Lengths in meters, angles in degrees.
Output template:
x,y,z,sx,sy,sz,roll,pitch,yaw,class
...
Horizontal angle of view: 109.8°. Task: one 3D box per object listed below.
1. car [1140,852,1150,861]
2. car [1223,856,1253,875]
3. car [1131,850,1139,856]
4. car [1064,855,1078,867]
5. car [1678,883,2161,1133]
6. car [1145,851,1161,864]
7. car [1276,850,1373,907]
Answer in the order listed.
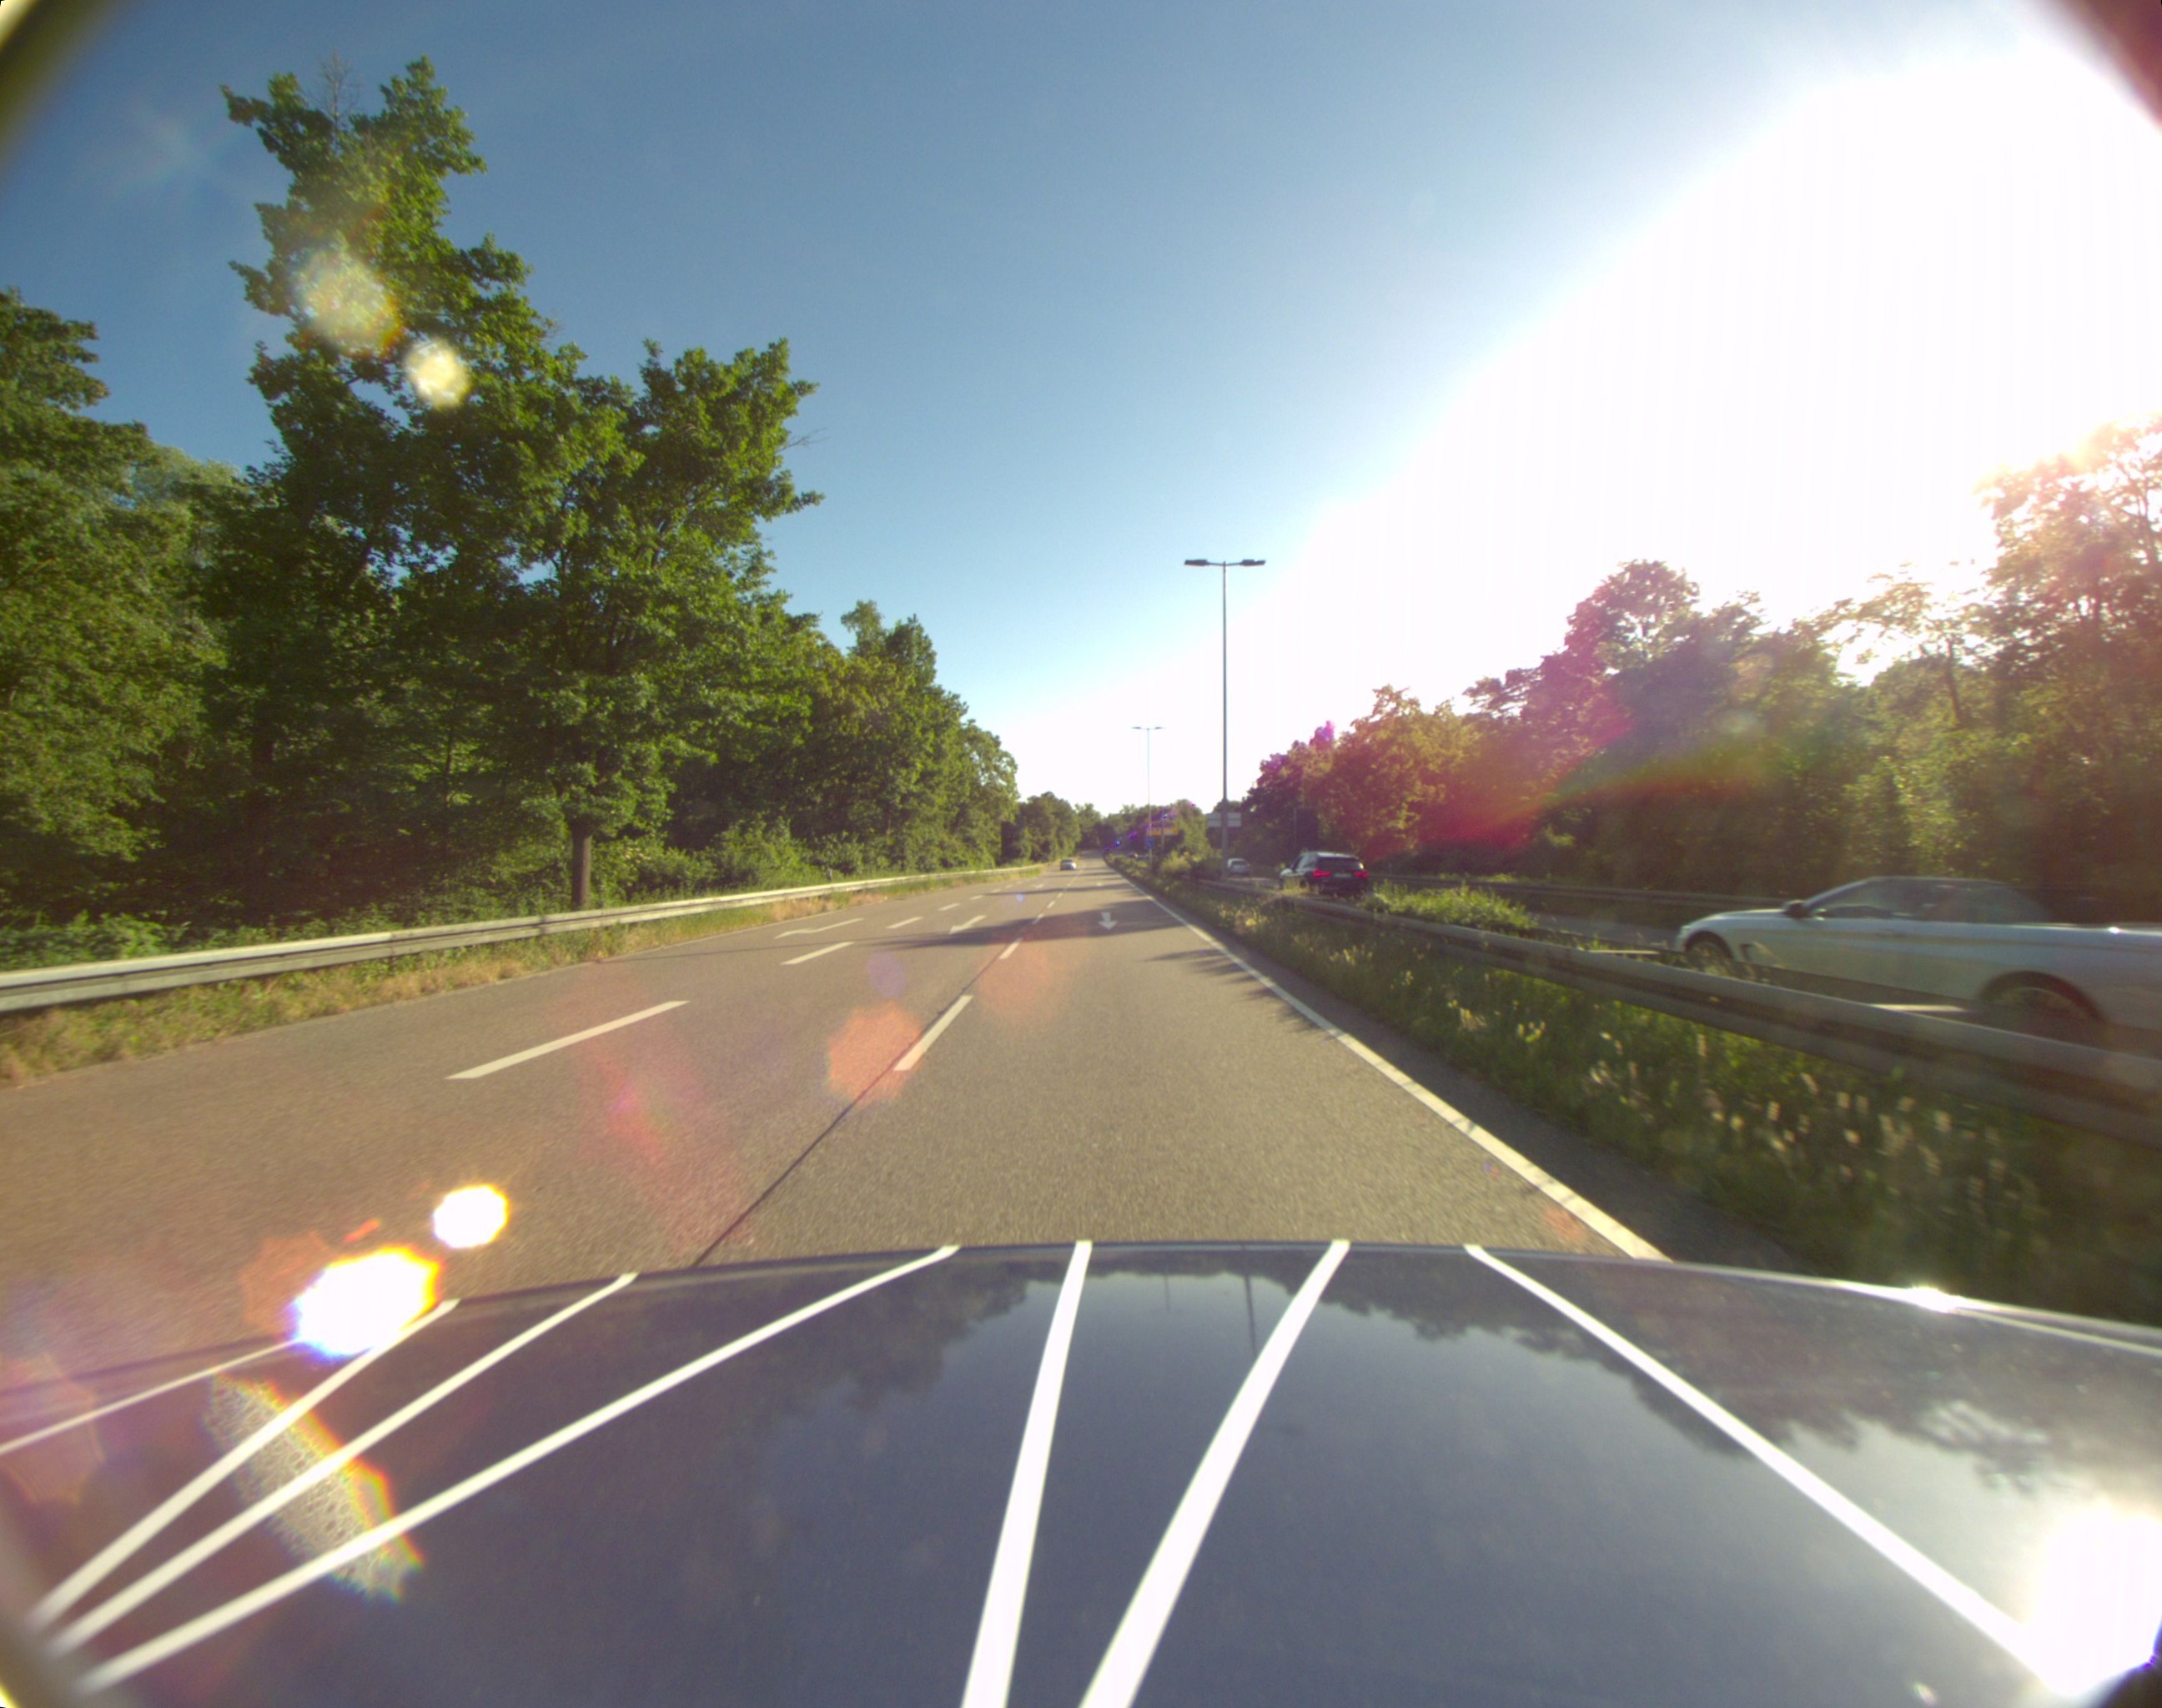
x,y,z,sx,sy,sz,roll,pitch,yaw,class
11.520,0.441,136.772,1.622,1.521,4.609,0,0,3,car
12.549,0.913,60.828,1.755,1.441,3.715,1,0,3,car
12.450,-0.186,176.181,1.785,1.395,4.553,0,0,3,car
-1.219,0.874,91.926,1.682,1.477,3.390,0,0,0,car
7.454,1.005,6.159,1.777,1.349,4.462,0,0,1,car
9.781,0.463,103.547,1.846,1.747,4.712,0,0,1,car
7.828,0.724,24.903,1.790,1.700,4.547,0,0,1,car
